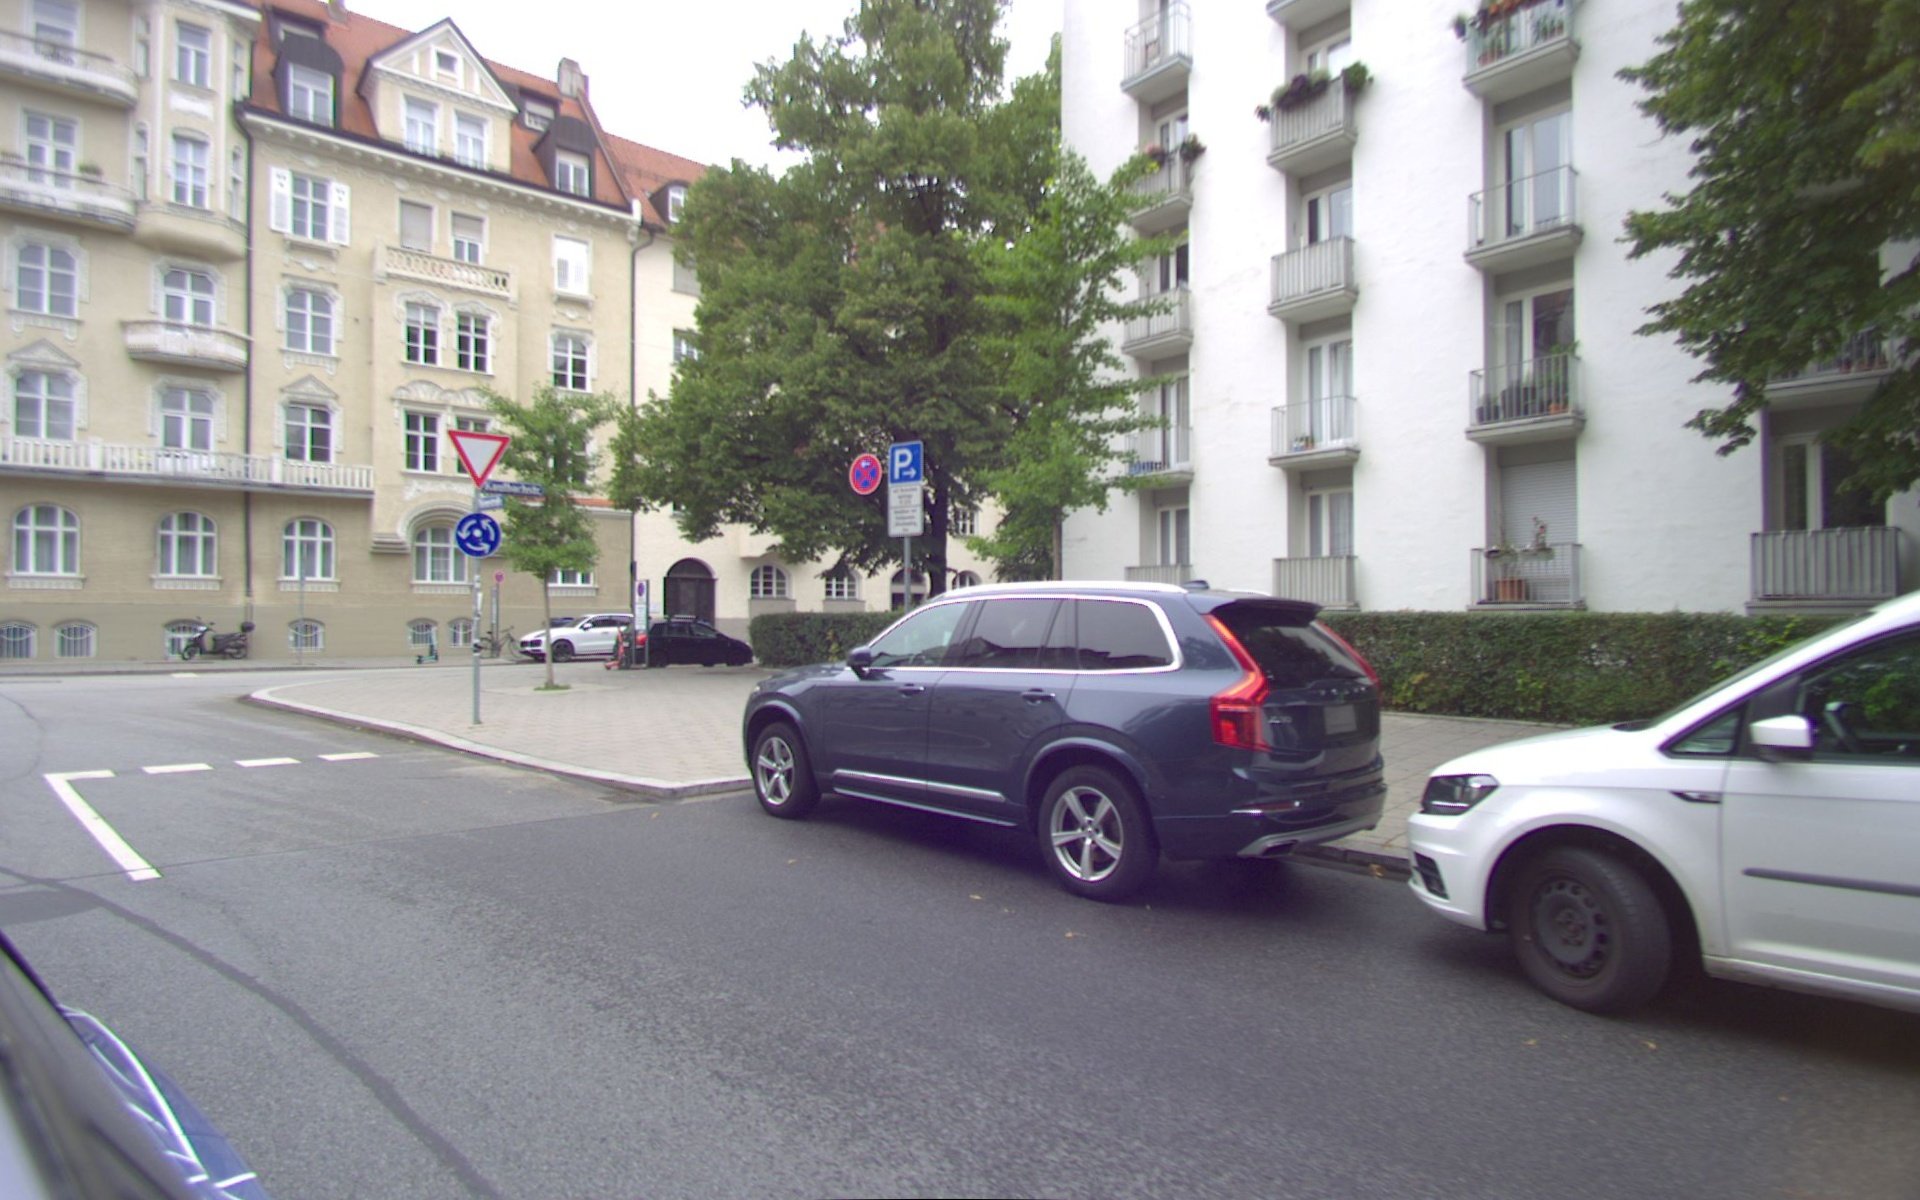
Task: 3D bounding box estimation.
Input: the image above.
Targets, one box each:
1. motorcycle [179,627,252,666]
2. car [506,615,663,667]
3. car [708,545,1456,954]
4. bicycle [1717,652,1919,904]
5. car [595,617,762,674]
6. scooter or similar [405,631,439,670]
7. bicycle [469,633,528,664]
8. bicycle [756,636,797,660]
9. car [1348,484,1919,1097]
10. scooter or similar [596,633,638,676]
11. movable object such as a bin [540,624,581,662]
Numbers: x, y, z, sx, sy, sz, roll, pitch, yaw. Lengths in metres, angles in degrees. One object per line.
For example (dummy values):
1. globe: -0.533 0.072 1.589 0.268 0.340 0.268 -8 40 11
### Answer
1. motorcycle: -23.626 1.460 32.151 1.802 1.185 0.601 1 -2 -42
2. car: -13.137 1.411 35.600 4.765 1.713 1.984 1 -2 -42
3. car: 0.457 0.732 6.929 1.970 1.805 4.916 3 -3 -45
4. bicycle: 4.891 0.890 5.681 0.534 1.158 1.817 -1 -2 22
5. car: -8.077 1.294 29.281 1.825 1.517 4.358 -3 -4 44
6. scooter or similar: -17.315 1.611 32.577 0.461 1.202 1.216 0 -1 -2
7. bicycle: -16.235 1.699 35.640 1.802 1.057 0.565 1 -2 -42
8. bicycle: -8.283 2.155 45.719 1.802 1.057 0.565 1 -2 -42
9. car: 4.080 0.621 3.450 4.850 1.933 1.809 -1 -3 44
10. scooter or similar: -8.794 1.389 25.941 0.995 1.097 0.388 0 -2 23
11. movable object such as a bin: -15.341 1.626 38.852 1.155 1.436 1.096 1 -2 -39
